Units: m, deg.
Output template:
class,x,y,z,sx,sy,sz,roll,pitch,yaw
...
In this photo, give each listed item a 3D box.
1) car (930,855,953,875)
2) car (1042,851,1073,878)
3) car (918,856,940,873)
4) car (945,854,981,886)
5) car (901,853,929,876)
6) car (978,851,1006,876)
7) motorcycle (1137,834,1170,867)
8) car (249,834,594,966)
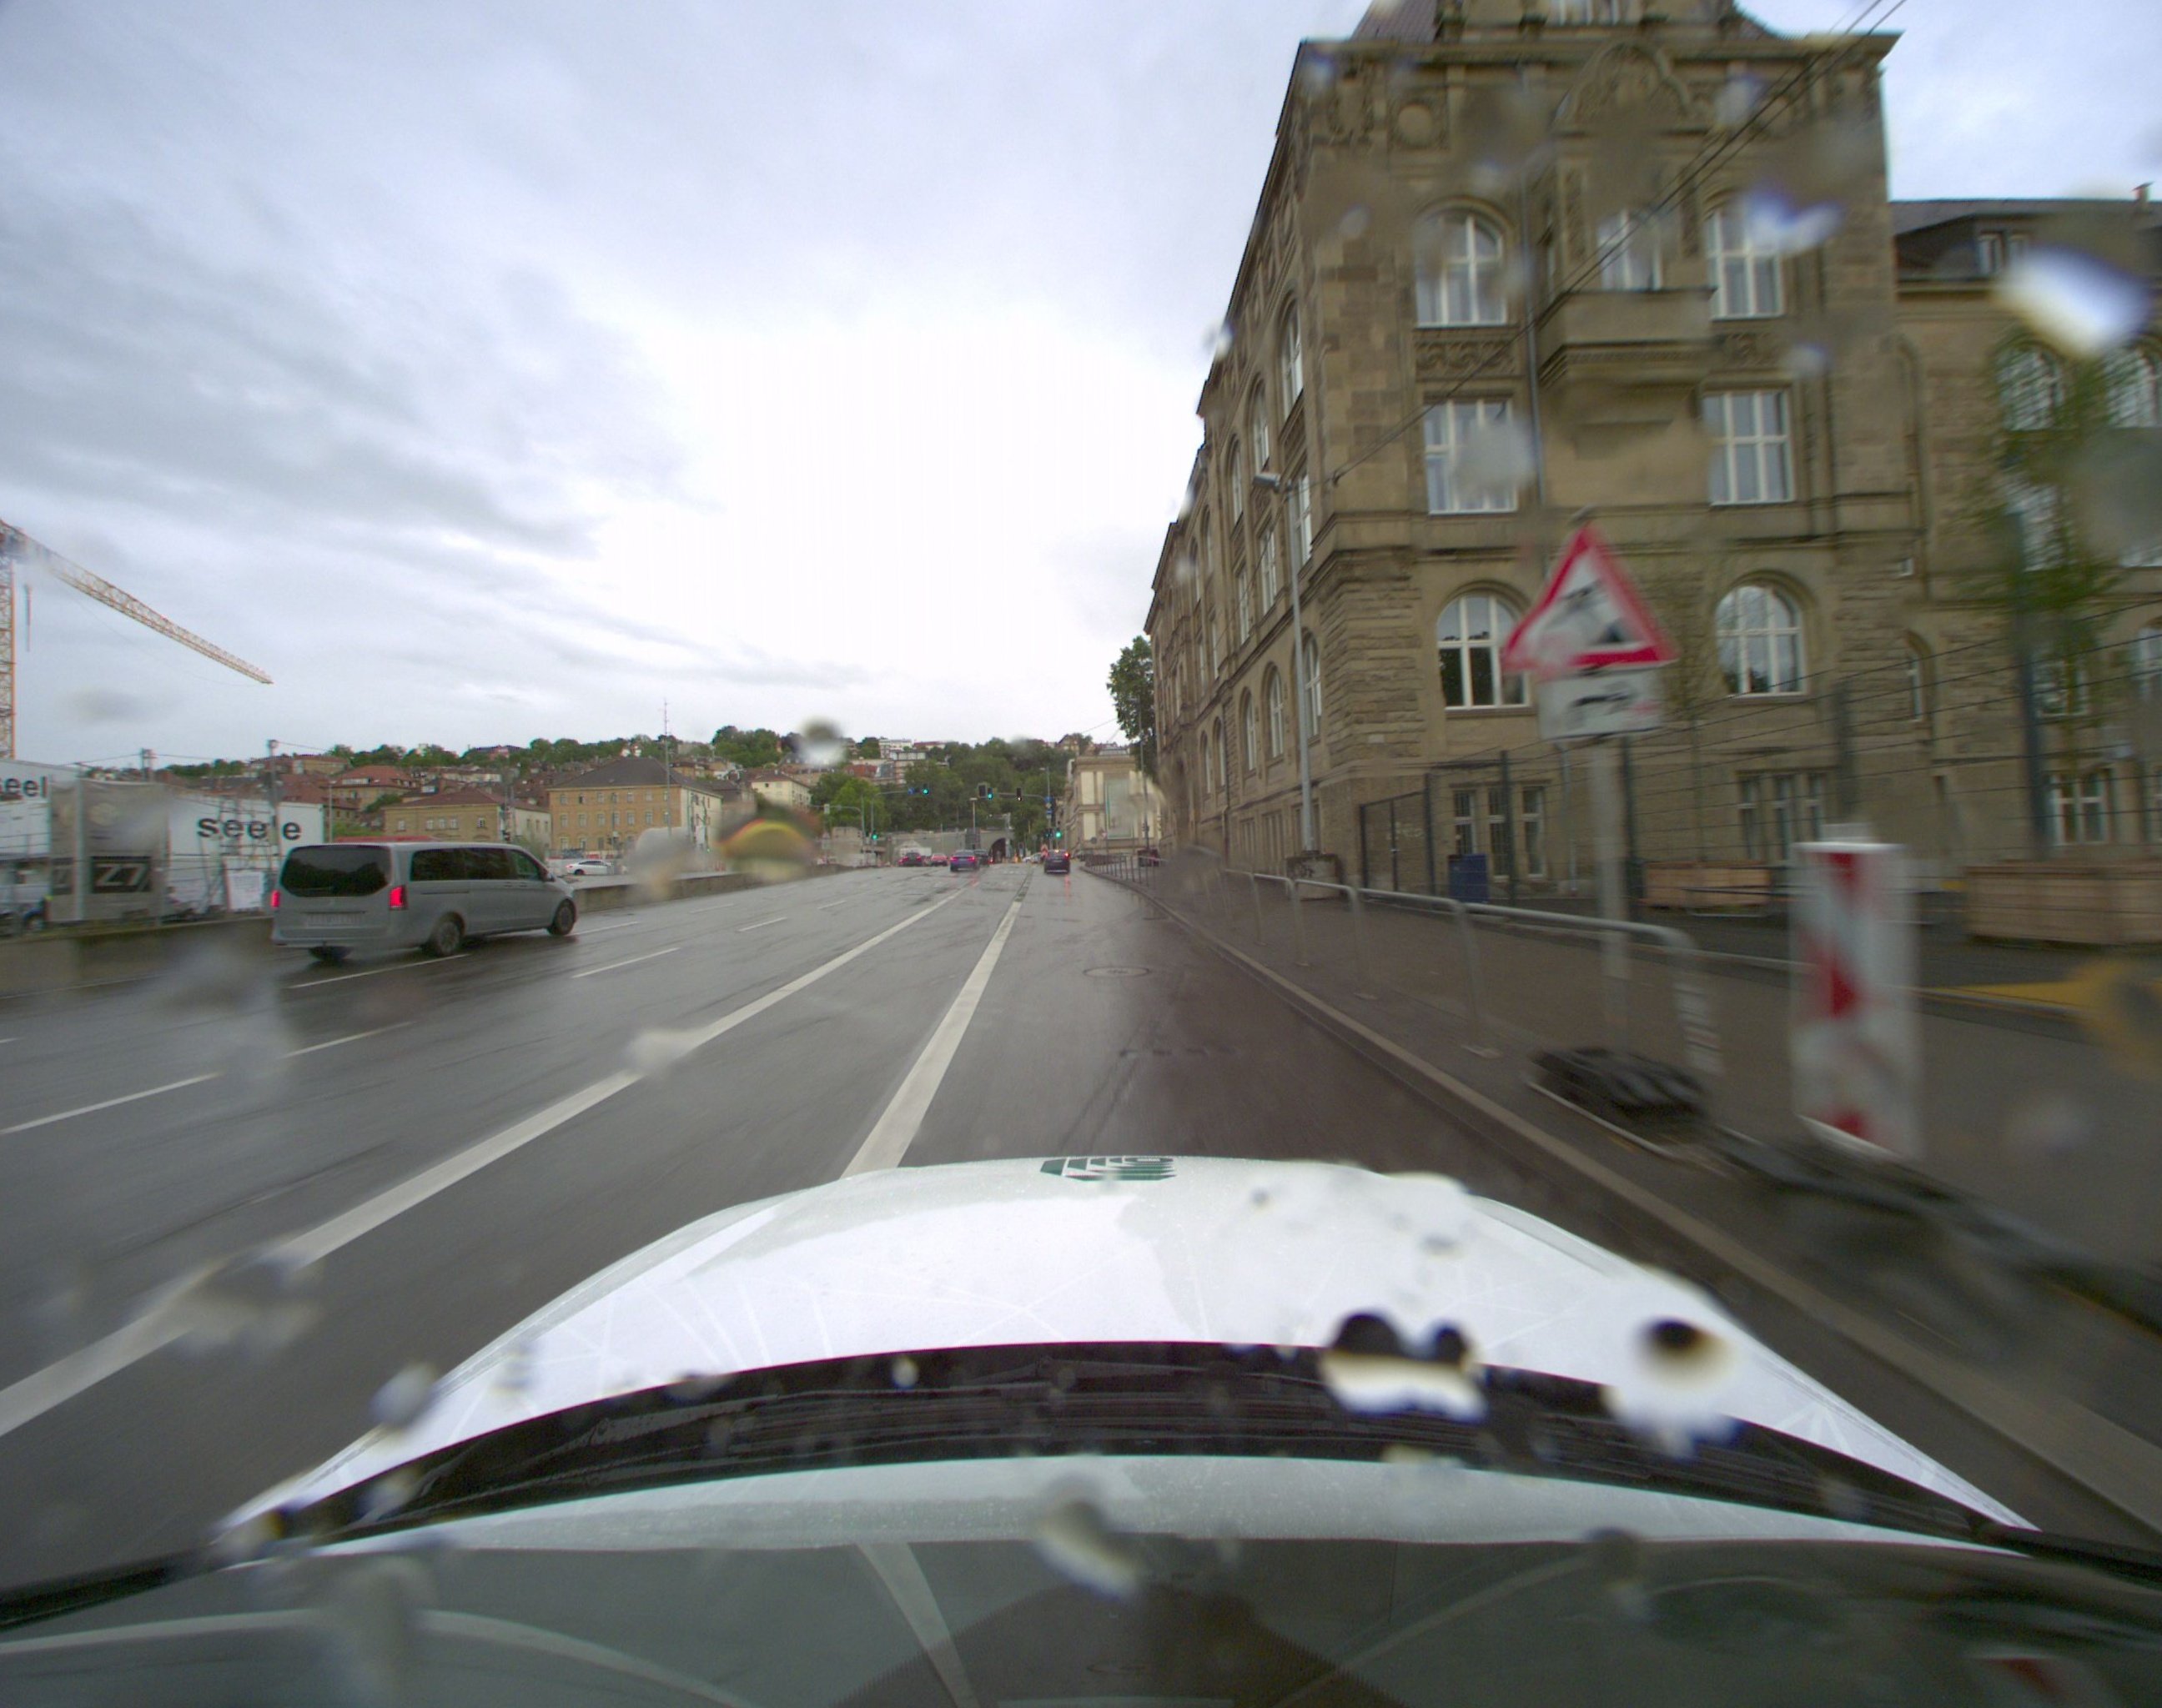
class,x,y,z,sx,sy,sz,roll,pitch,yaw
car,-15.015,1.229,87.995,2.048,2.014,3.992,-3,-2,-5
car,-1.503,0.712,51.759,1.808,1.527,3.995,-3,-2,-3
car,-19.128,1.347,102.557,1.988,2.014,3.997,-3,-2,-1
car,-8.212,1.138,56.954,2.101,2.051,3.994,-3,-2,-4
car,-15.792,0.997,77.756,2.013,2.014,3.994,-3,-2,-4
car,-7.723,0.876,70.880,1.769,2.014,4.001,-3,-2,2
motorcycle,4.650,-0.242,52.721,1.790,2.013,3.812,-2,0,0
car,-11.106,0.725,14.441,1.989,1.856,5.349,-1,-1,-4
